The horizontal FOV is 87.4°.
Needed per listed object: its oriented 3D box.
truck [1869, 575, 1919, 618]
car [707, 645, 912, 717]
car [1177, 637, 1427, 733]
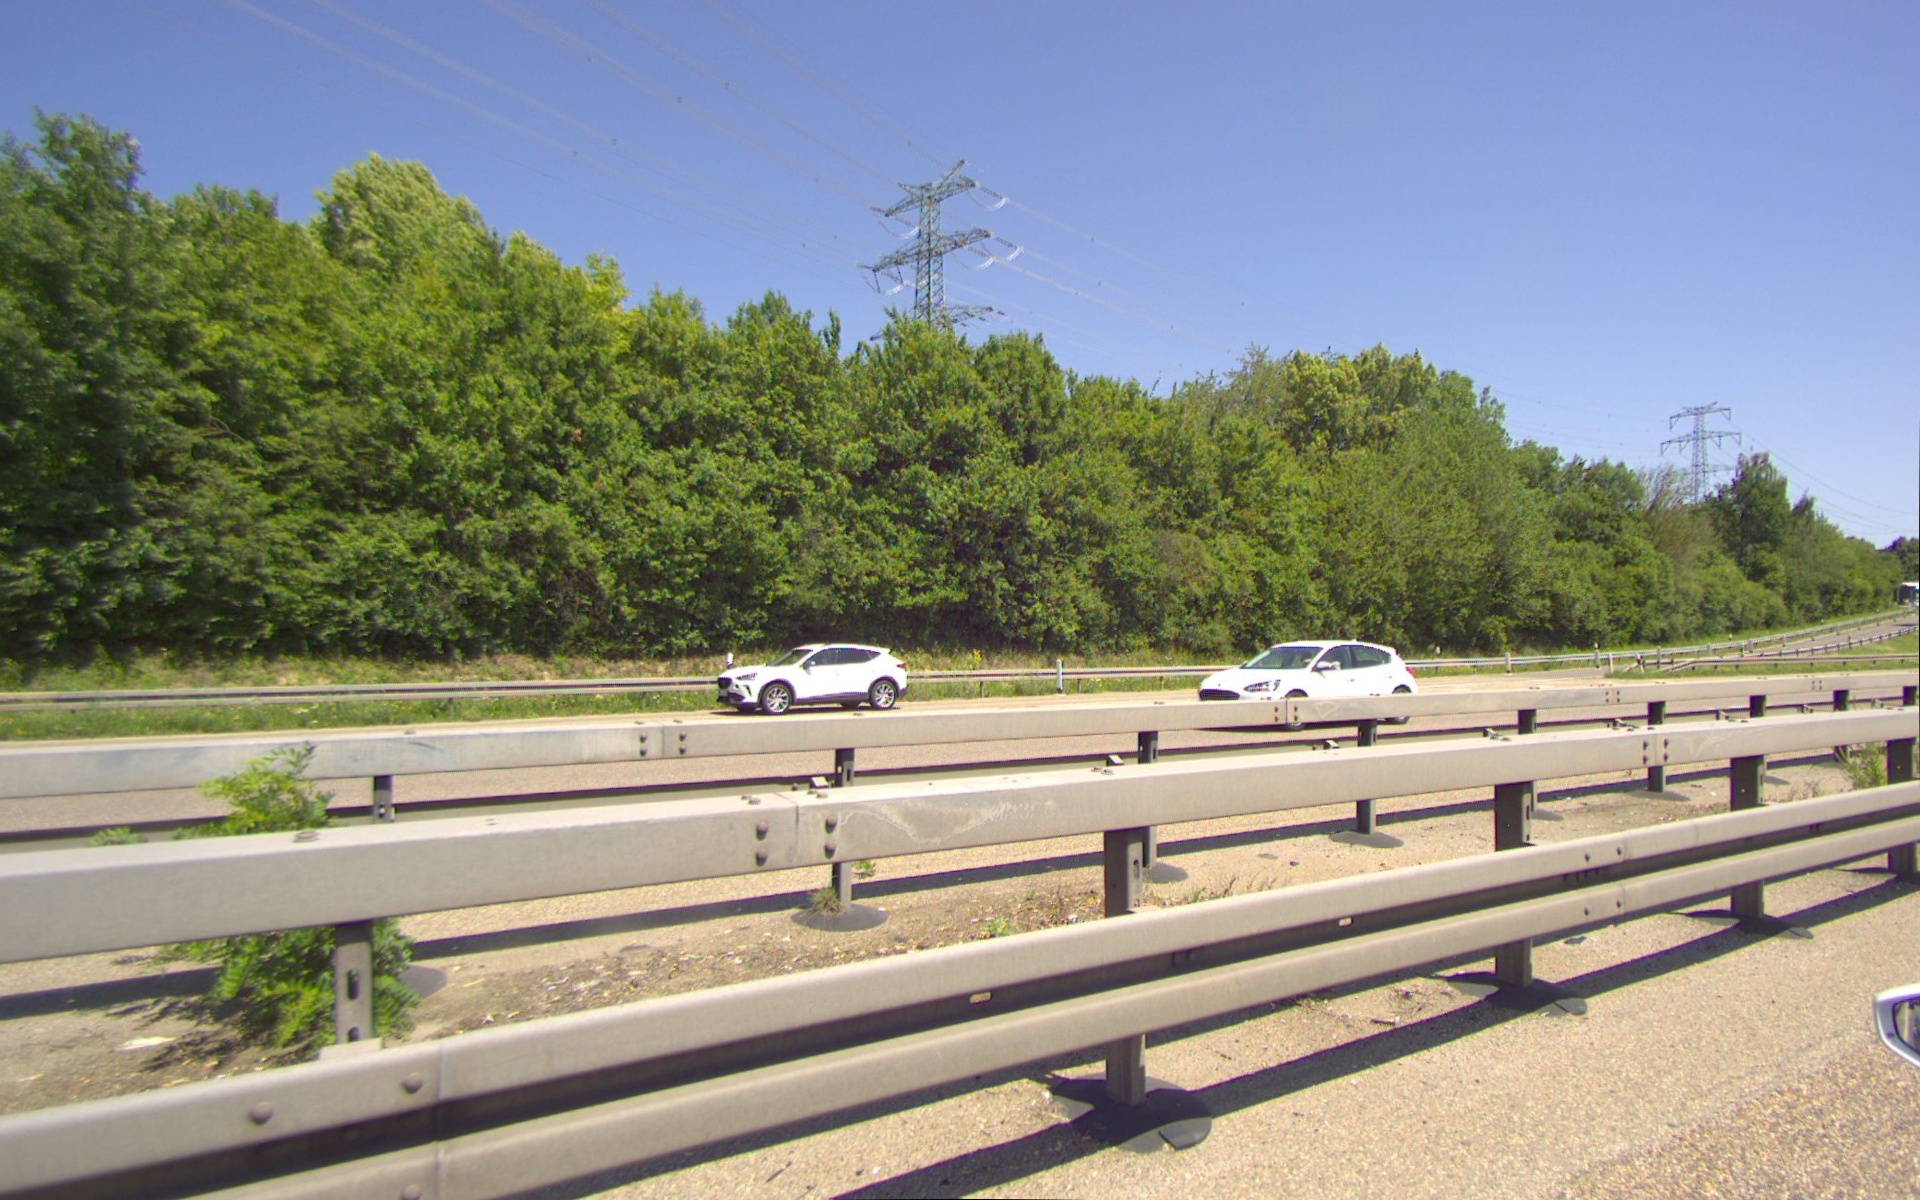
[{"bbox_3d":[169.753,-0.483,181.820,4.603,7.324,13.618,2,0,29],"label":"truck"},{"bbox_3d":[-3.329,1.767,22.667,4.303,1.474,1.674,2,-3,-35],"label":"car"},{"bbox_3d":[5.977,1.423,17.454,4.257,1.486,1.841,2,-4,-32],"label":"car"}]
